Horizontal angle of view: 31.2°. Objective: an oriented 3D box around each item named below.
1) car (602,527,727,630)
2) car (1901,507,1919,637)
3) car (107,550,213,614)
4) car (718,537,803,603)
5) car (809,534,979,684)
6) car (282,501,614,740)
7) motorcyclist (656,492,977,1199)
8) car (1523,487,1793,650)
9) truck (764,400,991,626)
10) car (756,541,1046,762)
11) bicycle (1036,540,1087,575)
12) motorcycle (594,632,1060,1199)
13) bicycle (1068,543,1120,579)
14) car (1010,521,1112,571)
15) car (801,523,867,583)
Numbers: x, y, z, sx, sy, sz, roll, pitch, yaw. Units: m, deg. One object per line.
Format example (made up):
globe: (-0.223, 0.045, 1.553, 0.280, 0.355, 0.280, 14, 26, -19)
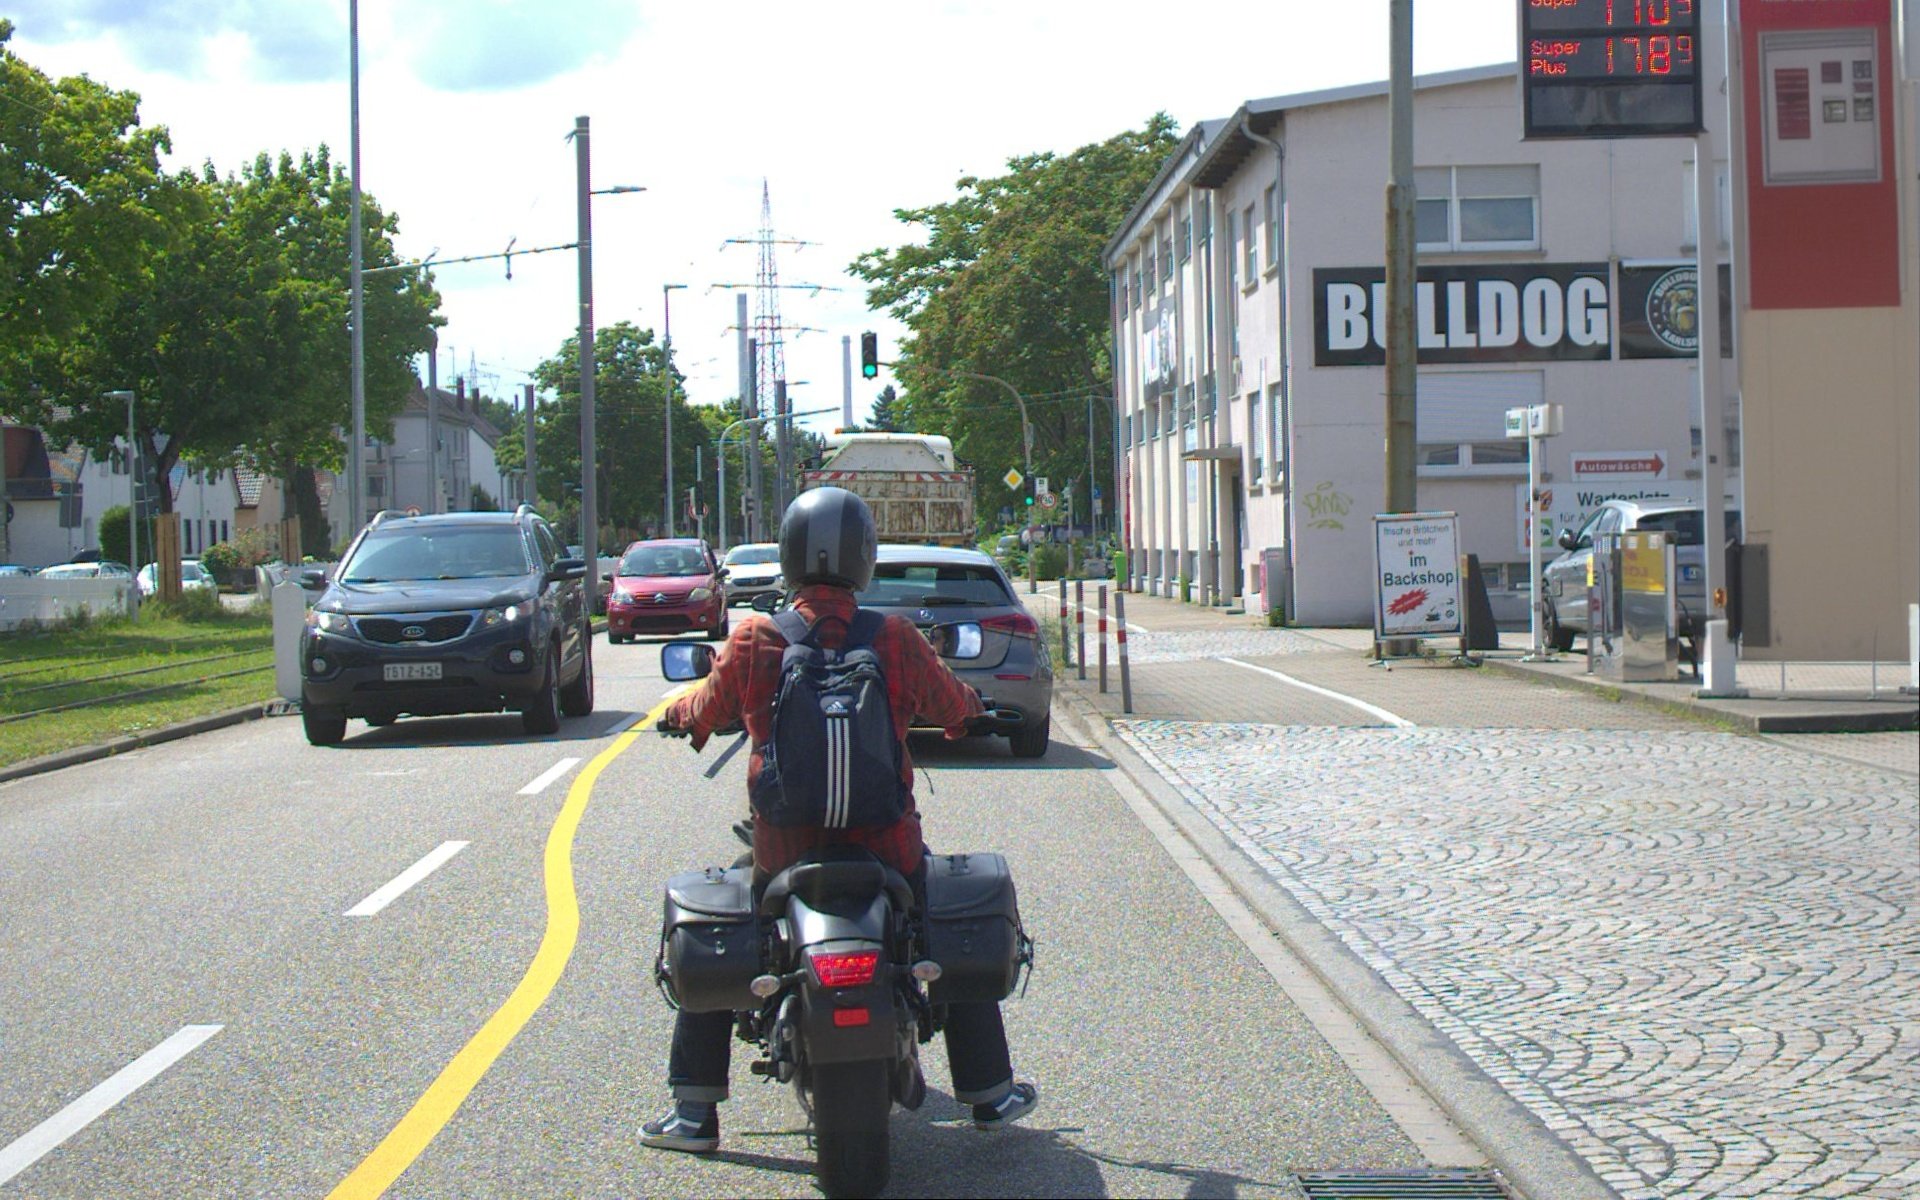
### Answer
car: (-4.392, -0.323, 51.441, 1.578, 1.464, 3.720, 1, 0, -1)
car: (11.716, -0.333, 37.012, 1.691, 1.466, 4.424, -2, 1, -3)
car: (-17.528, -0.404, 75.460, 1.521, 1.349, 3.621, 1, 0, -1)
car: (-4.658, -0.702, 80.594, 1.821, 1.440, 4.484, -2, 1, -2)
car: (-0.645, 0.054, 36.023, 1.644, 1.439, 3.748, 1, 1, 1)
car: (-3.896, 0.110, 26.834, 1.796, 1.684, 4.221, -1, 1, 2)
motorcyclist: (-0.327, 0.558, 8.078, 0.698, 1.599, 0.692, 1, 0, -1)
car: (7.321, -0.352, 36.497, 1.945, 1.619, 4.616, 0, 1, 0)
truck: (-1.135, -1.265, 52.503, 2.967, 3.162, 7.763, 1, 0, 2)
car: (-0.501, 0.302, 24.399, 1.731, 1.399, 4.087, 1, 1, -5)
bicycle: (3.470, -1.447, 117.298, 1.708, 1.168, 0.438, 1, 0, 5)
motorcycle: (-0.289, 0.720, 8.317, 0.942, 1.196, 2.473, 1, 1, -1)
bicycle: (4.515, -1.314, 115.995, 1.708, 1.168, 0.438, 1, 0, 5)
car: (4.007, -2.148, 136.212, 1.802, 1.919, 3.989, 1, 1, 45)
car: (-3.704, -1.385, 101.864, 1.824, 1.660, 4.462, -2, 1, -1)
